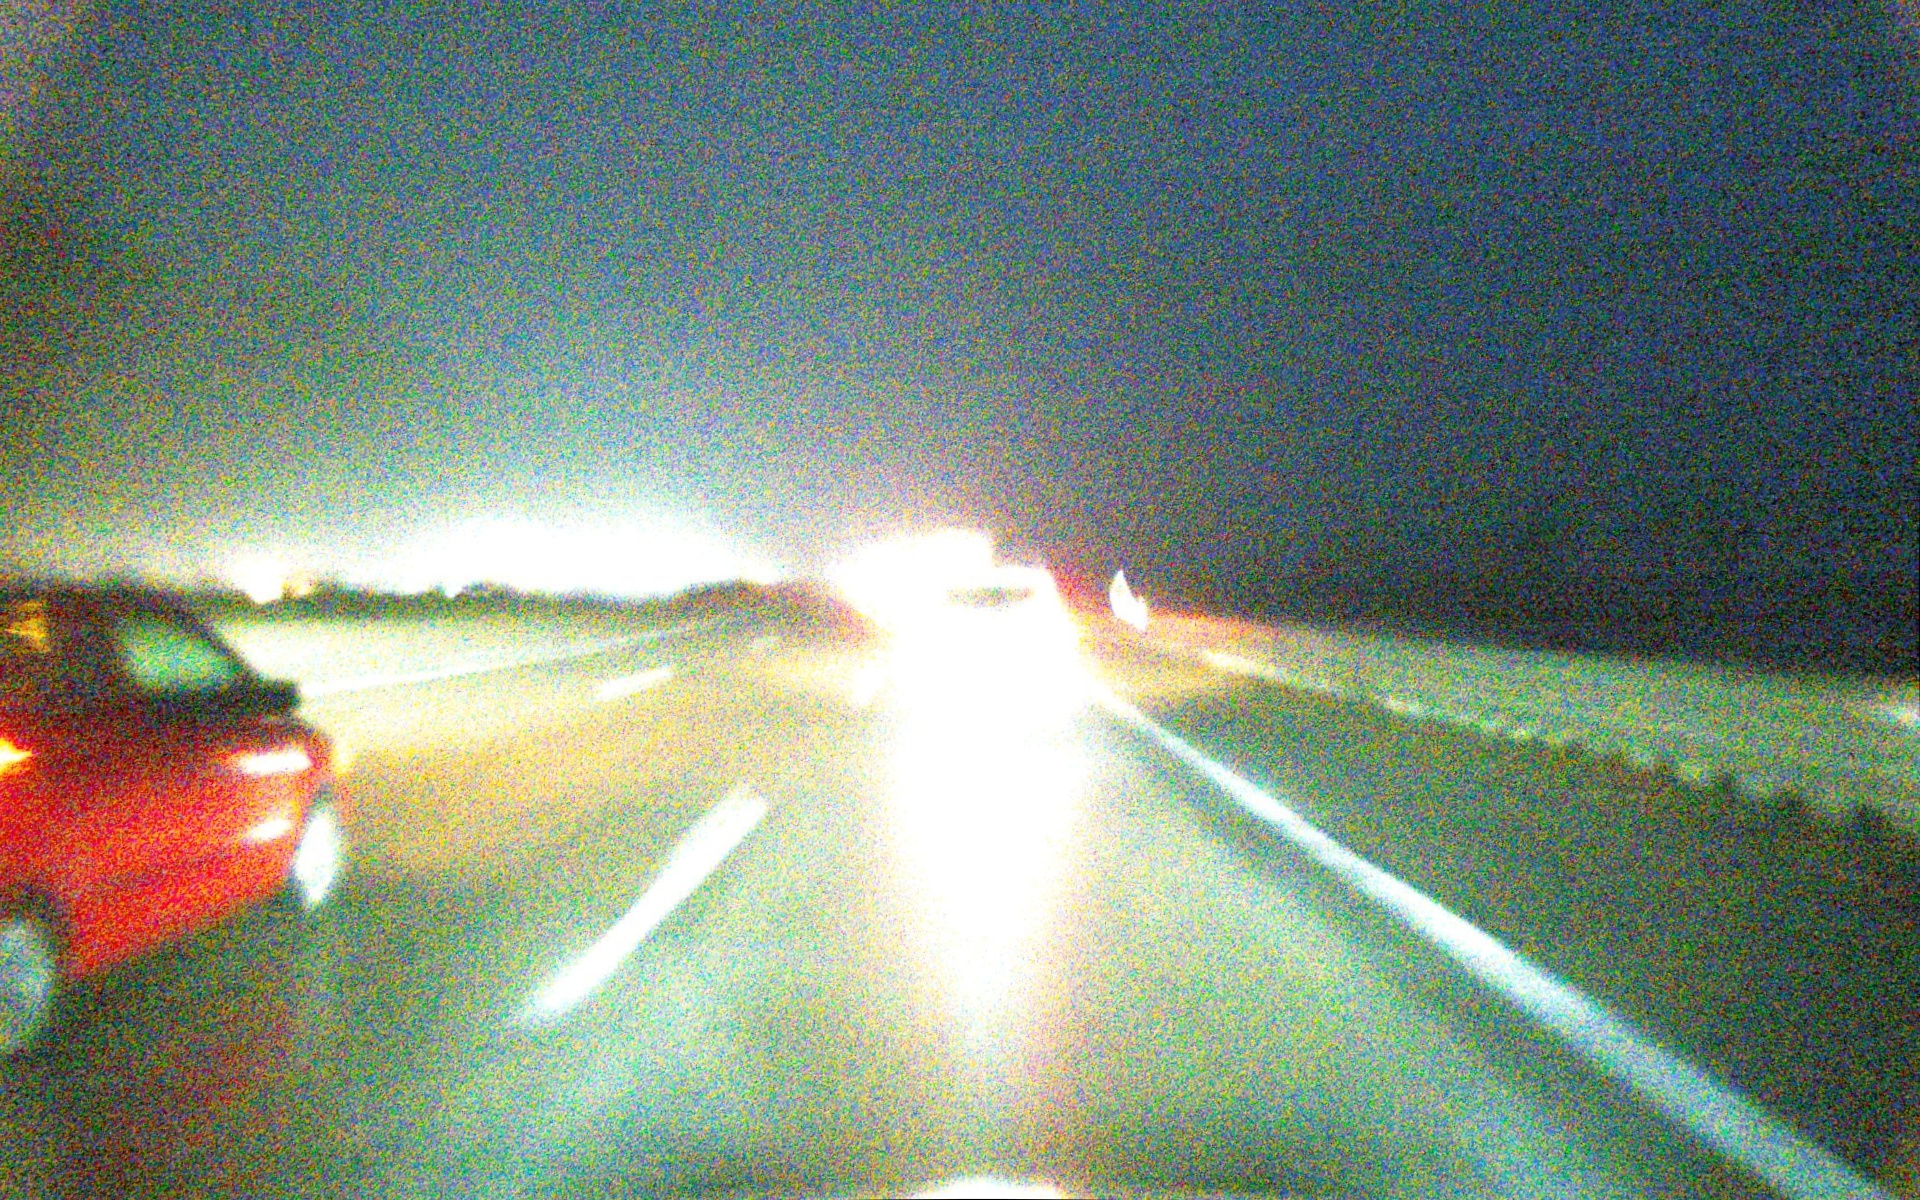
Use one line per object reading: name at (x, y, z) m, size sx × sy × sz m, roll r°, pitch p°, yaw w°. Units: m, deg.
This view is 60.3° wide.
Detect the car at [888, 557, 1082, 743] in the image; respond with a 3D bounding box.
car at (0.205, 0.515, 19.186) m, size 1.913 × 1.823 × 5.123 m, roll 1°, pitch 0°, yaw -1°

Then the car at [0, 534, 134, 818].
car at (-7.093, 0.462, 9.762) m, size 1.953 × 1.808 × 4.886 m, roll 1°, pitch 0°, yaw 0°

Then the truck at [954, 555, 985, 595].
truck at (1.269, -3.276, 221.129) m, size 3.746 × 5.001 × 11.603 m, roll 1°, pitch 0°, yaw -1°

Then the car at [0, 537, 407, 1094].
car at (-3.729, 0.625, 6.186) m, size 1.876 × 1.622 × 4.233 m, roll 1°, pitch 0°, yaw 0°

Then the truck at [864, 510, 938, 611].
truck at (-3.471, -2.233, 100.642) m, size 4.083 × 5.641 × 13.071 m, roll 1°, pitch 0°, yaw -1°
